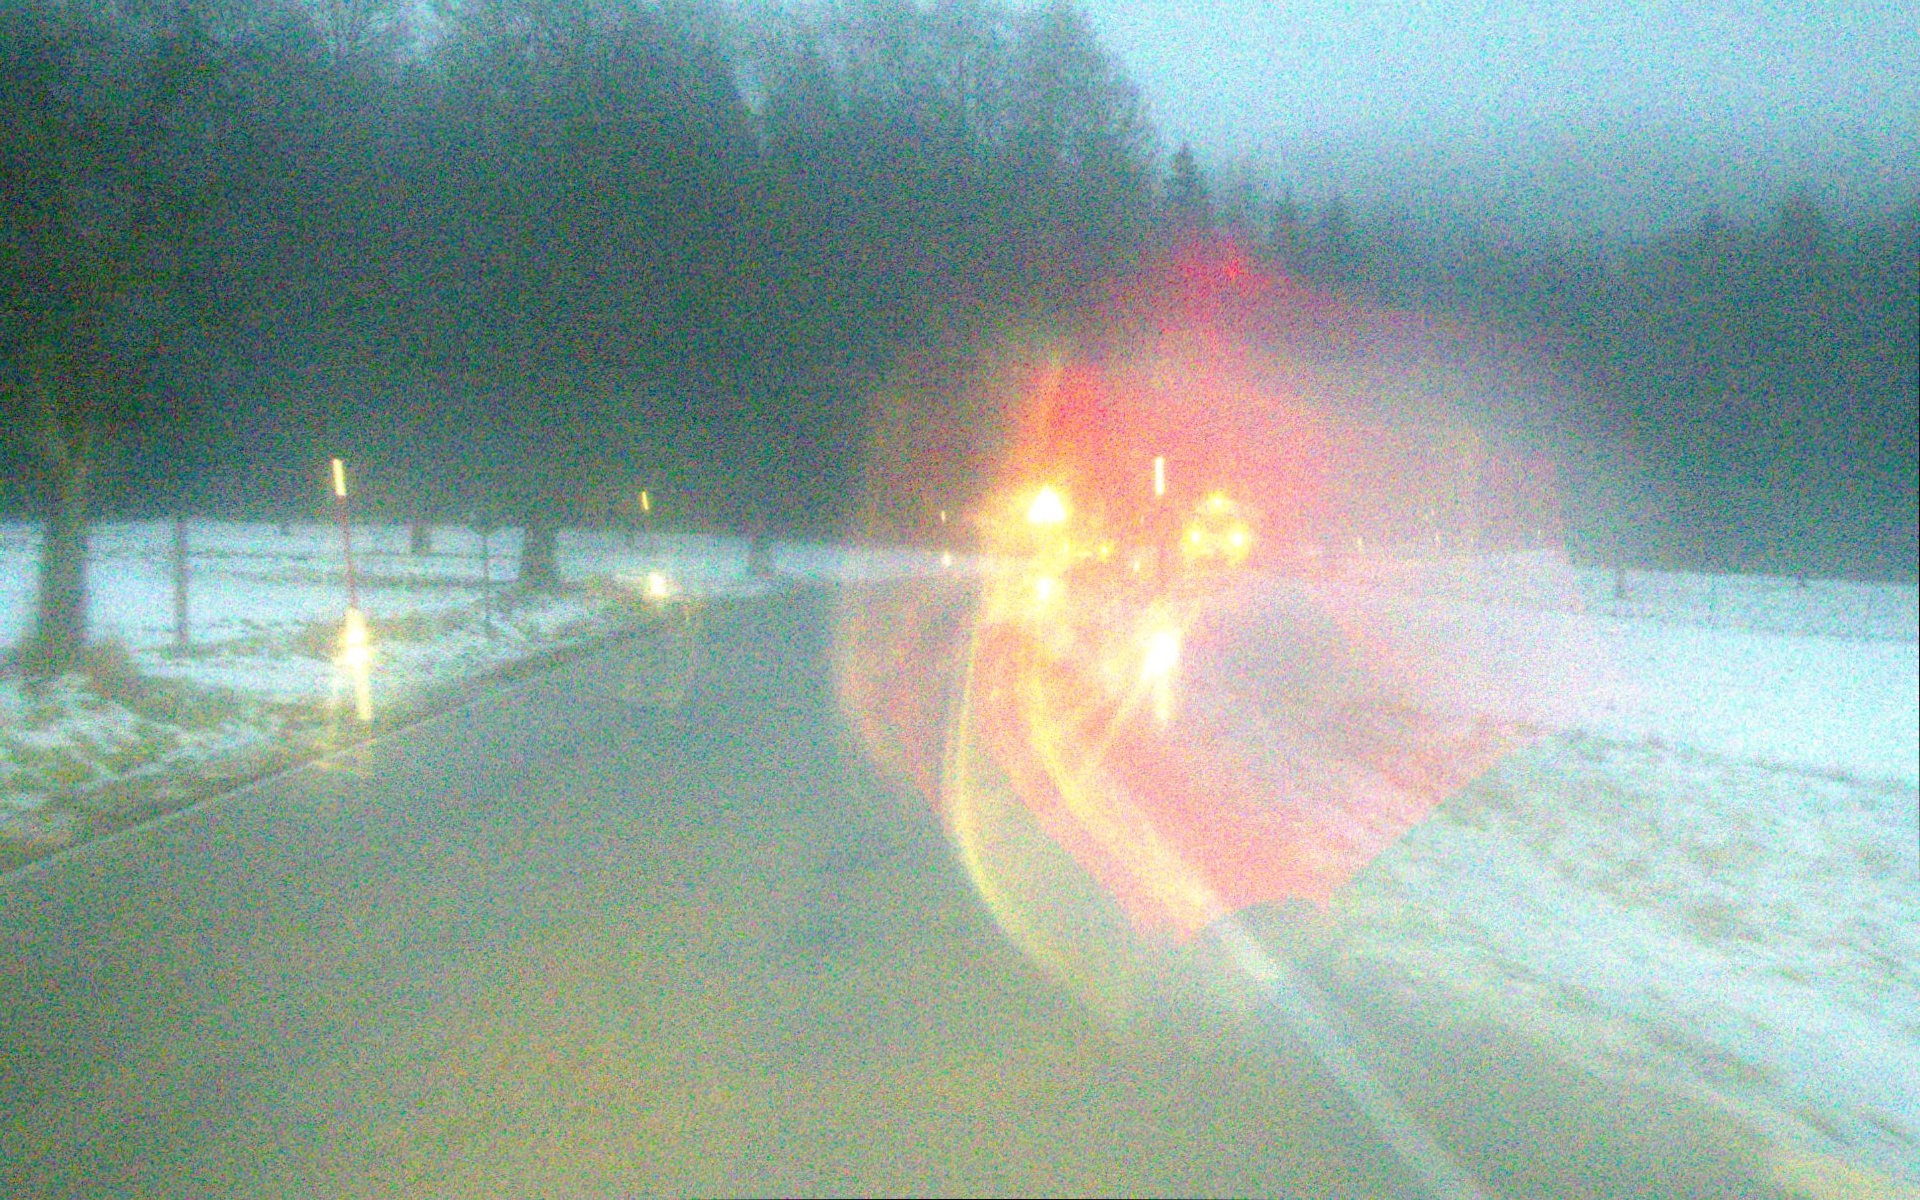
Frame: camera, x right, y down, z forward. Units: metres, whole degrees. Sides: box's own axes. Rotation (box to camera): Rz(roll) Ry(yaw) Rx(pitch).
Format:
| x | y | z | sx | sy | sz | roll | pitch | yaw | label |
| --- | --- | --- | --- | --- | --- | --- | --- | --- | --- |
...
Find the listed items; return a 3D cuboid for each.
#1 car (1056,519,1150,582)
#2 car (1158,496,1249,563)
| x | y | z | sx | sy | sz | roll | pitch | yaw | label |
| --- | --- | --- | --- | --- | --- | --- | --- | --- | --- |
| 4.908 | -1.676 | 117.279 | 1.996 | 2.044 | 3.996 | 3 | 1 | 20 | car |
| 10.071 | -2.913 | 141.782 | 2.255 | 2.636 | 5.000 | 2 | 2 | 22 | car |
